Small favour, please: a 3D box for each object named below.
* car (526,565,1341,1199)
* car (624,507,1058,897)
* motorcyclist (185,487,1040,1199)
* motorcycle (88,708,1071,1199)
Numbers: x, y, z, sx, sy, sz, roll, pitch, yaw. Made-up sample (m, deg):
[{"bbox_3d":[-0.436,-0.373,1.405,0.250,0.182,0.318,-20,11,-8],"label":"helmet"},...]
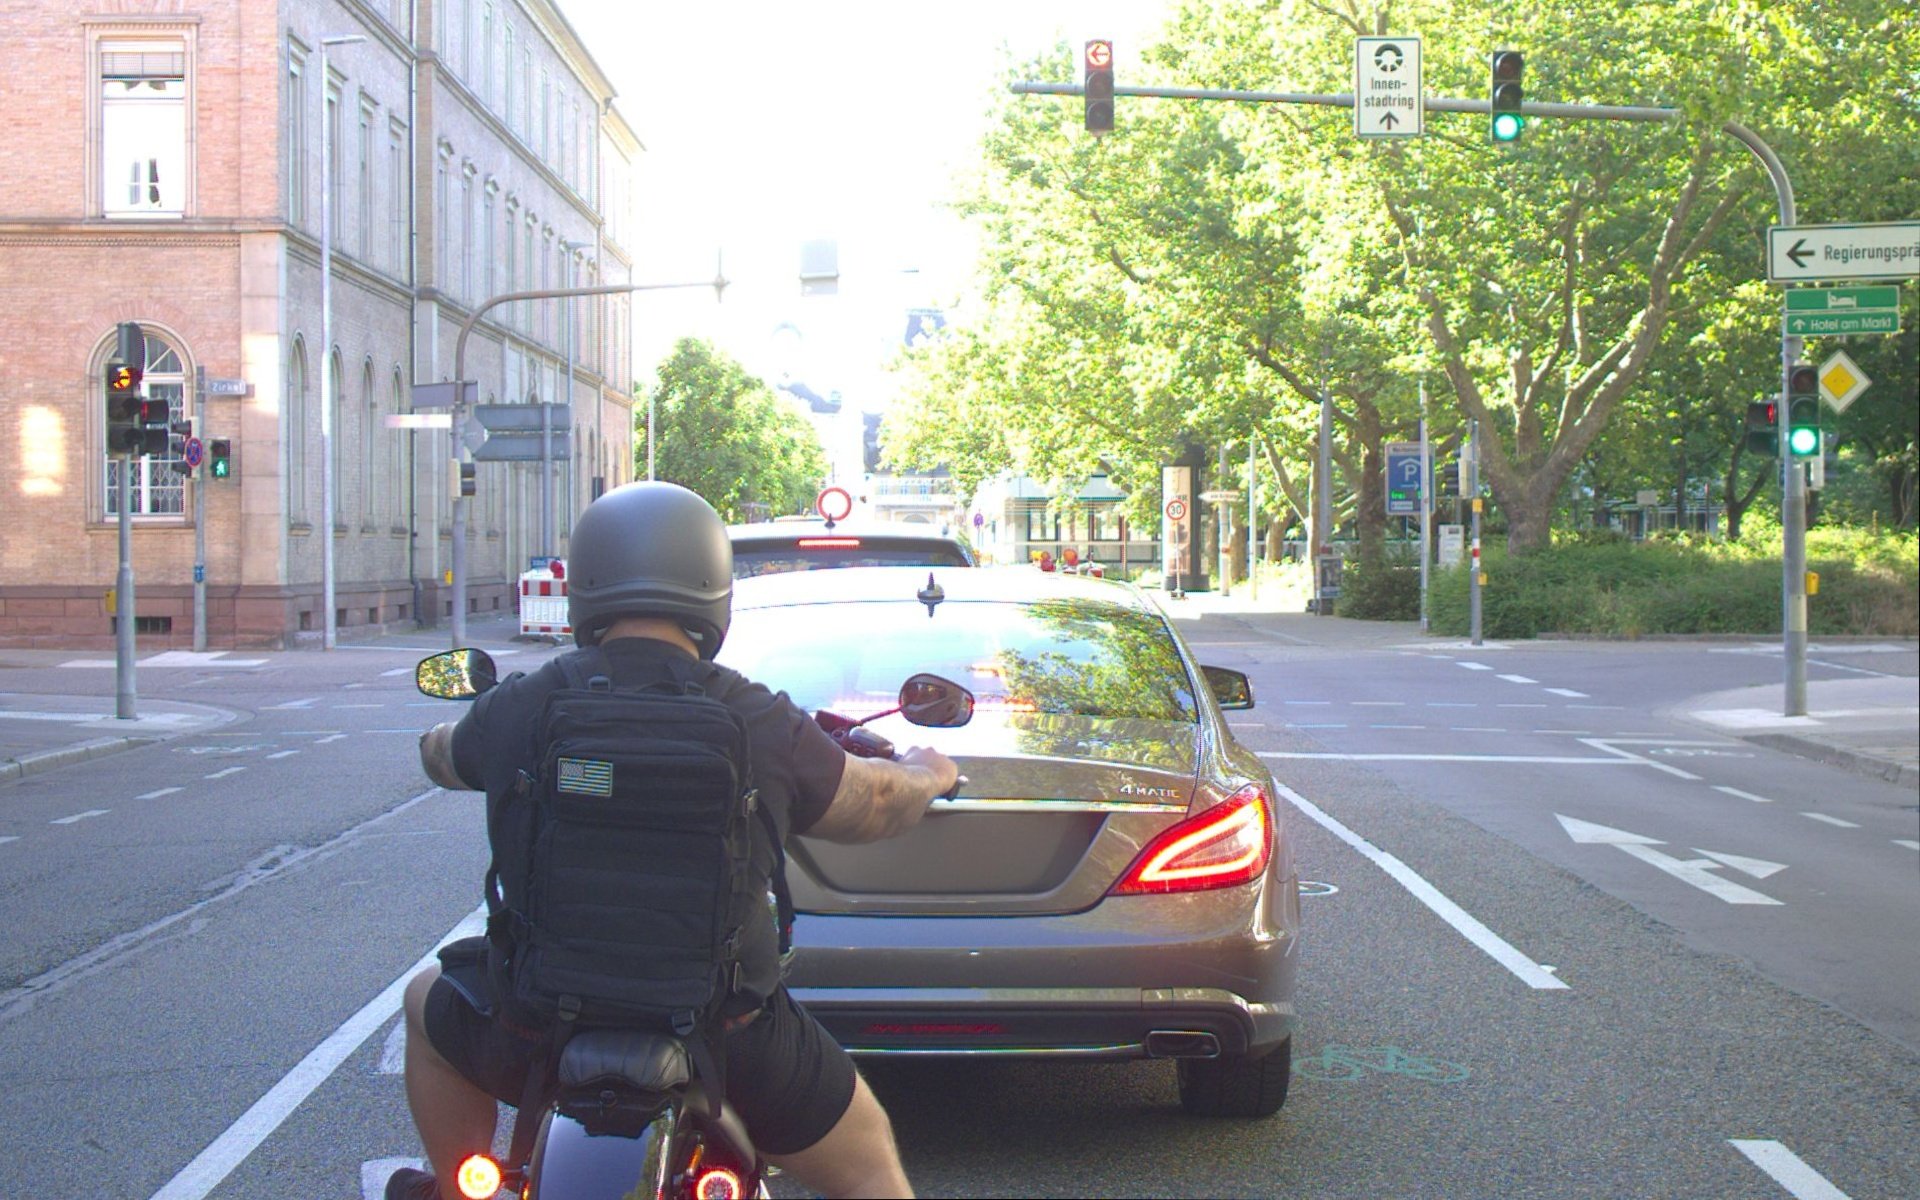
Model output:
[{"bbox_3d":[-0.081,0.631,9.668,1.822,1.432,3.806,1,1,-1],"label":"car"},{"bbox_3d":[-0.540,0.424,16.945,1.863,1.672,4.000,1,1,-1],"label":"car"},{"bbox_3d":[-0.479,0.626,5.280,1.099,1.560,1.071,1,0,6],"label":"motorcyclist"},{"bbox_3d":[-0.465,0.829,5.503,1.118,1.203,2.212,1,1,6],"label":"motorcycle"}]
